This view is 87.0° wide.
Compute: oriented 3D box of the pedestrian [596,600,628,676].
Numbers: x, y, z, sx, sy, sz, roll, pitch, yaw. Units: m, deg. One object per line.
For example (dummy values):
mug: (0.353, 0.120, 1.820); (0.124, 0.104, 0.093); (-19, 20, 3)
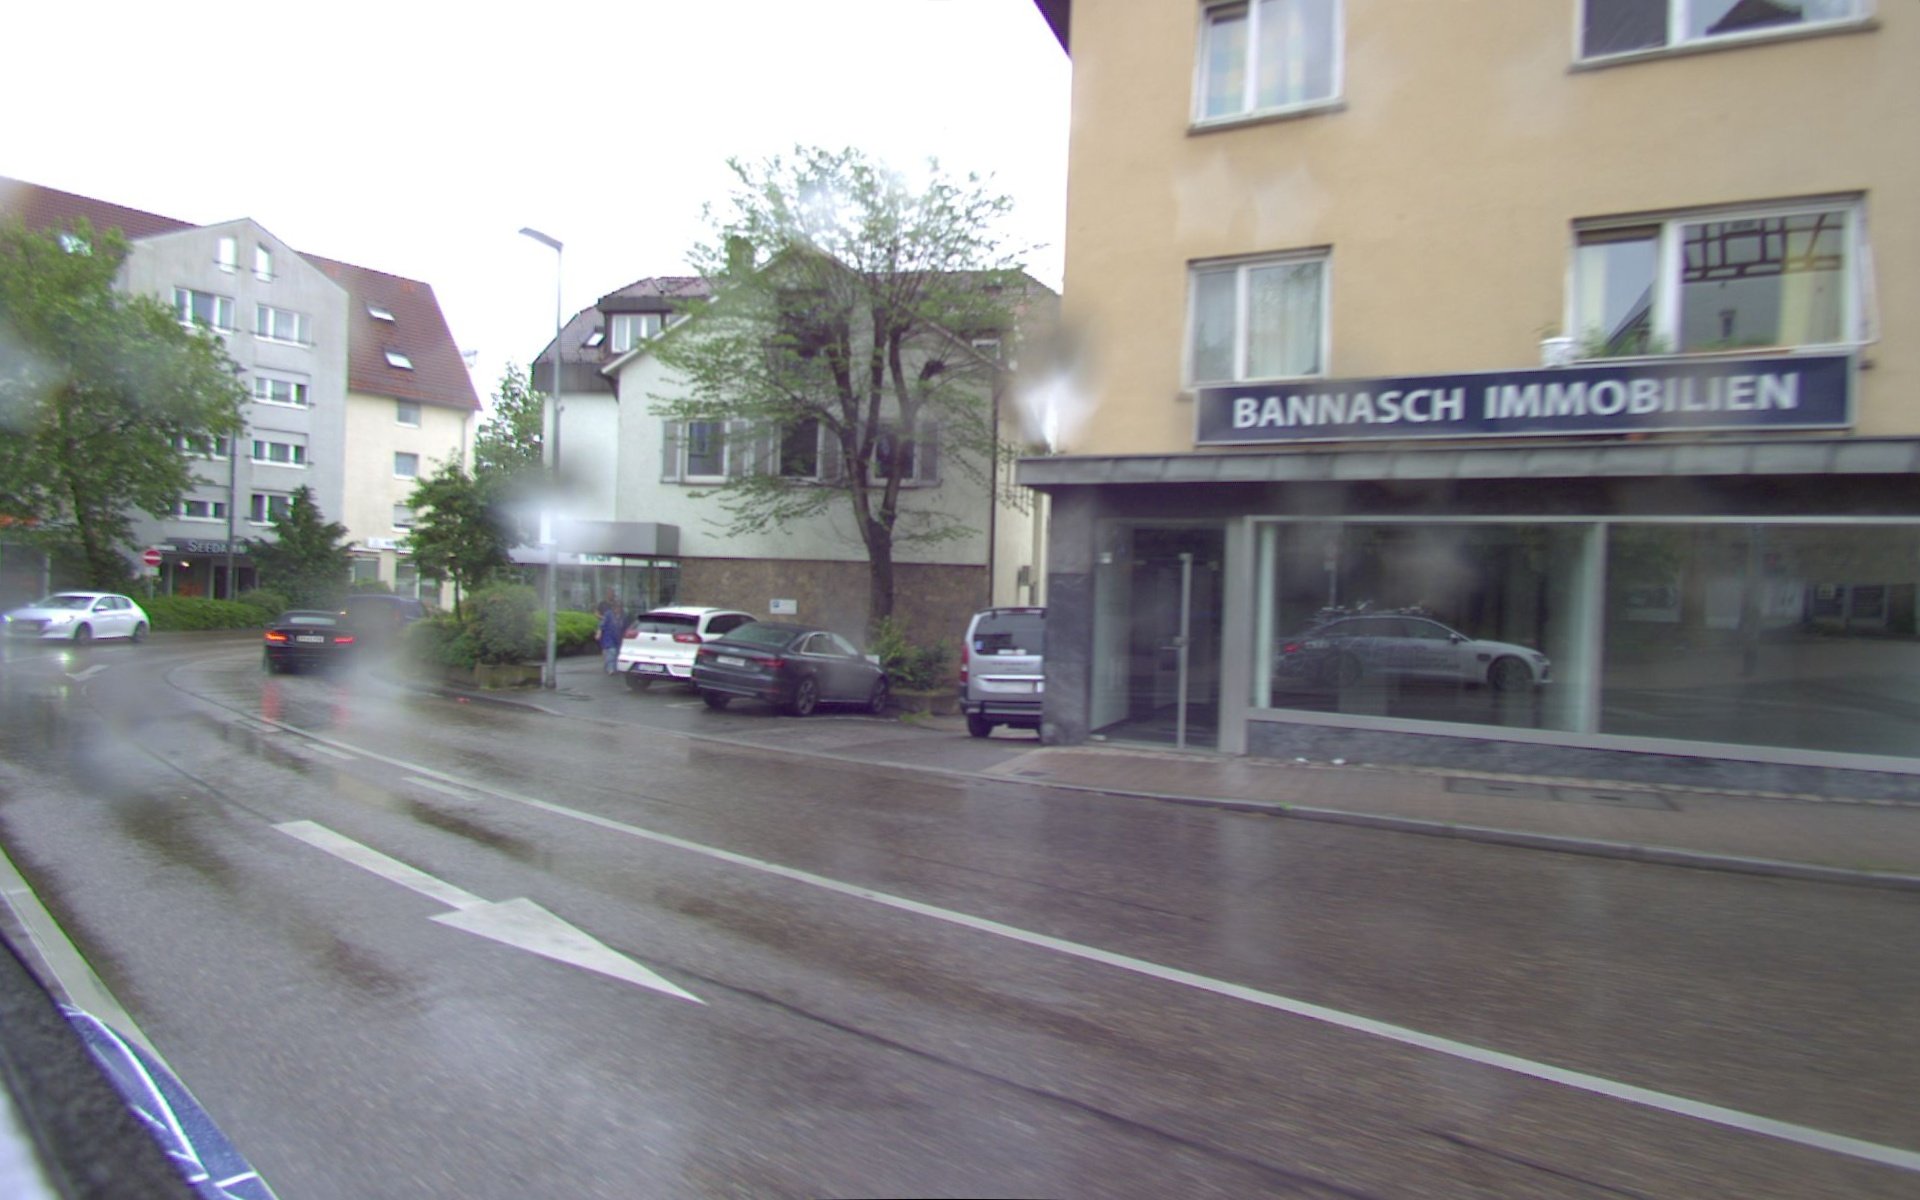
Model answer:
pedestrian: (-7.464, 0.809, 21.693); (0.645, 1.587, 0.547); (0, -1, -19)

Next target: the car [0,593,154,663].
car: (-25.119, 0.735, 28.697); (1.785, 1.577, 4.009); (5, 1, -11)

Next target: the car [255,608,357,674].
car: (-15.188, 0.920, 23.641); (1.835, 1.397, 4.275); (1, -1, -31)

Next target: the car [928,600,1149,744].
car: (1.426, 1.242, 15.623); (1.950, 1.839, 4.896); (-1, -8, 23)

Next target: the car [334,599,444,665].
car: (-18.706, 1.115, 33.389); (1.967, 1.896, 4.388); (0, -5, -12)

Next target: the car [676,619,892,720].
car: (-2.760, 1.054, 16.841); (1.885, 1.465, 3.974); (-1, -1, 19)

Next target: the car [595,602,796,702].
car: (-4.857, 0.928, 19.127); (1.984, 1.641, 3.623); (1, -1, 19)
